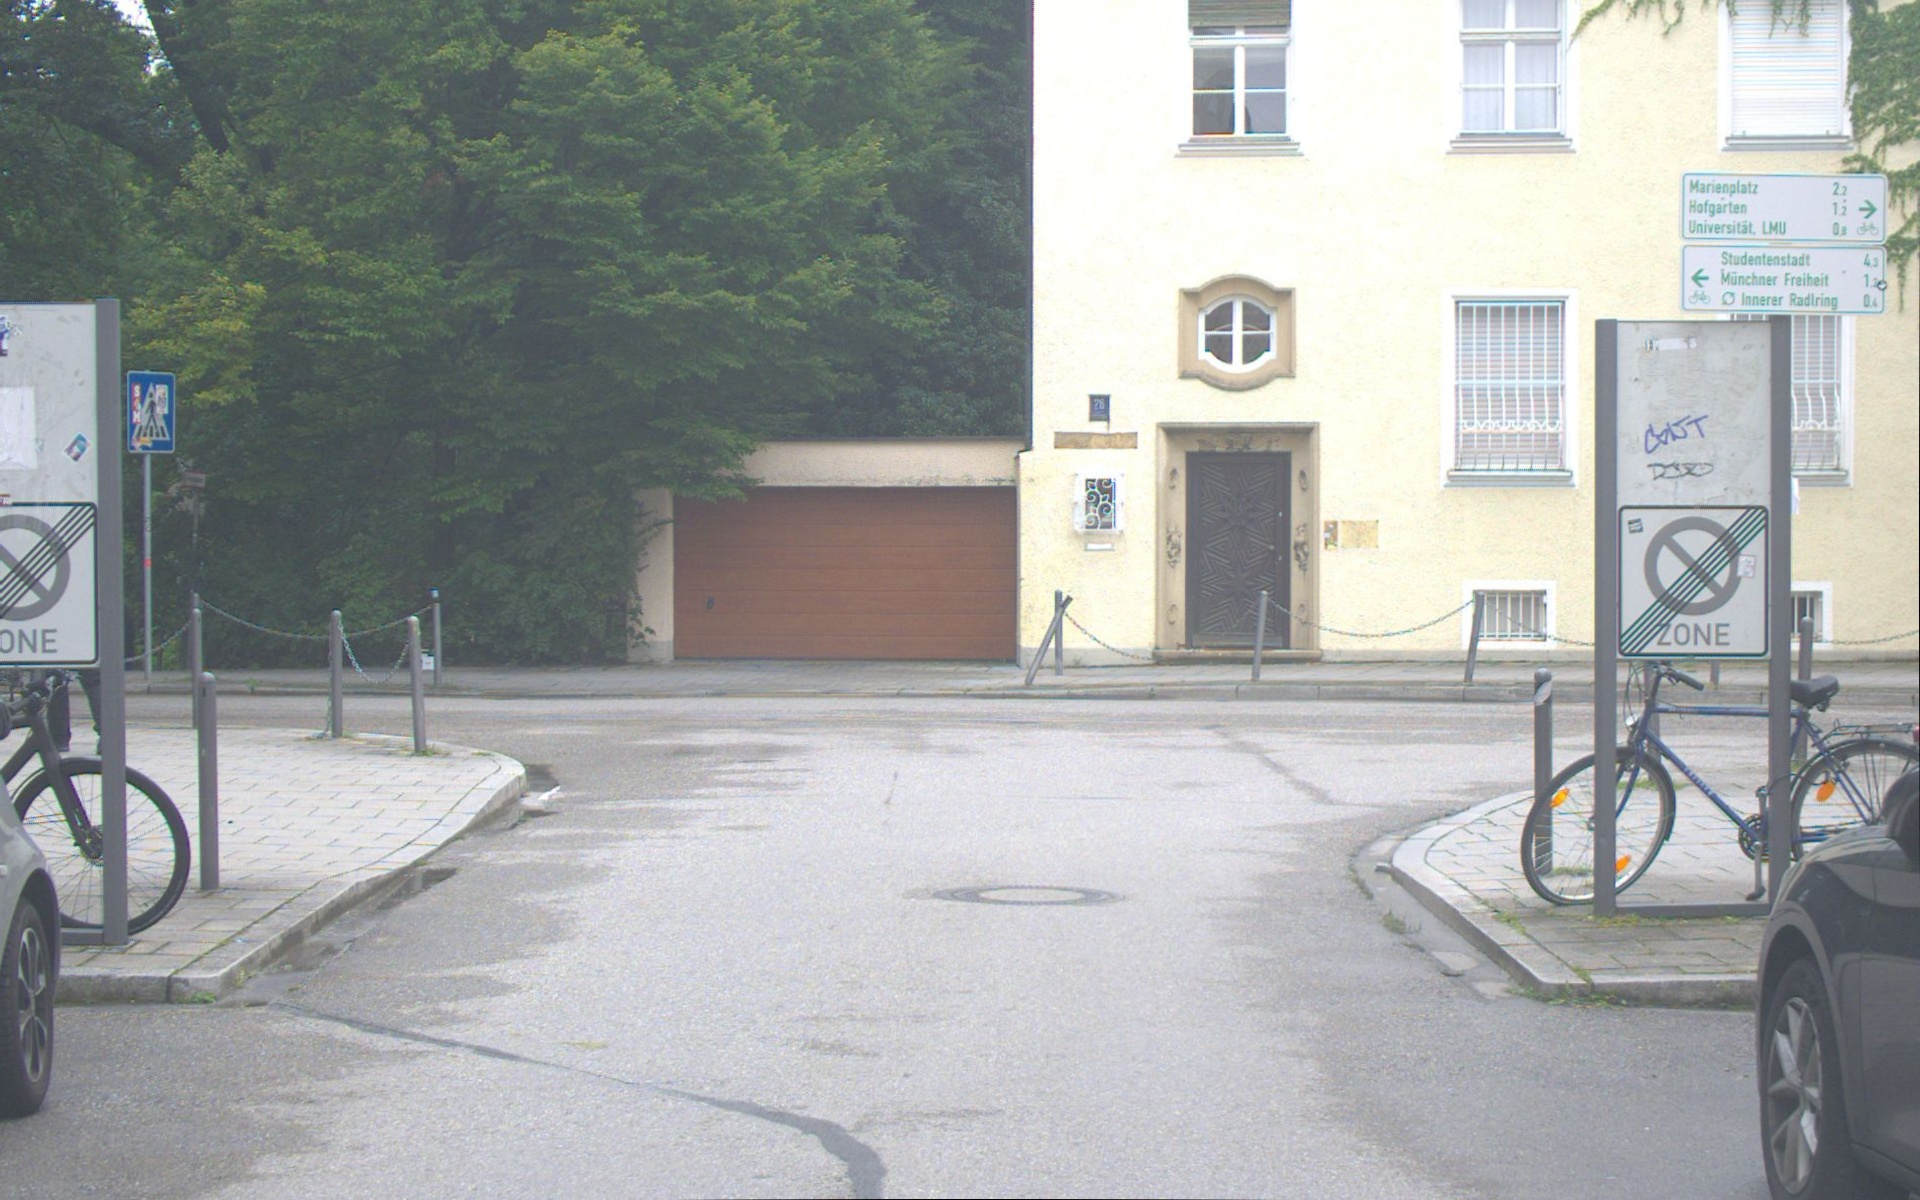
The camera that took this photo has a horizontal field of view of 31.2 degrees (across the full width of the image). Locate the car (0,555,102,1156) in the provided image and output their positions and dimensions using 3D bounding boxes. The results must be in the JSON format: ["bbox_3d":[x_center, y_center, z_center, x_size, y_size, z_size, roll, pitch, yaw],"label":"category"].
[{"bbox_3d":[-3.274,0.654,8.219,1.704,1.510,2.911,0,1,0],"label":"car"}]

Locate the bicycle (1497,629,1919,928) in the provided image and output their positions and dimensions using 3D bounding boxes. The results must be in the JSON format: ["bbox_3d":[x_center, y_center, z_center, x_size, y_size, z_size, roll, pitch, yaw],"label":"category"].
[{"bbox_3d":[3.081,0.673,13.484,1.794,1.082,0.665,0,2,27],"label":"bicycle"}]

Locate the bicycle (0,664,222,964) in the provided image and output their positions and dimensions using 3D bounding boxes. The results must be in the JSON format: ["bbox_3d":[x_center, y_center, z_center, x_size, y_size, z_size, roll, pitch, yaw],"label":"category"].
[{"bbox_3d":[-3.606,0.740,12.291,1.802,1.011,0.540,2,1,-1],"label":"bicycle"}]

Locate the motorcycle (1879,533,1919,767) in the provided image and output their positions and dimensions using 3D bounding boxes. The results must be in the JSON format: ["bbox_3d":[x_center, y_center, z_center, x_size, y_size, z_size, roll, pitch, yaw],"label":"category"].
[{"bbox_3d":[6.518,0.296,20.201,2.077,1.351,0.817,0,1,-23],"label":"motorcycle"}]

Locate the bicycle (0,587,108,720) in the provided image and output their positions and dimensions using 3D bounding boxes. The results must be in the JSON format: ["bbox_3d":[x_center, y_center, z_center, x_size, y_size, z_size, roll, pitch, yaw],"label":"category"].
[{"bbox_3d":[-7.707,0.409,27.594,2.006,1.006,0.511,1,1,36],"label":"bicycle"}]

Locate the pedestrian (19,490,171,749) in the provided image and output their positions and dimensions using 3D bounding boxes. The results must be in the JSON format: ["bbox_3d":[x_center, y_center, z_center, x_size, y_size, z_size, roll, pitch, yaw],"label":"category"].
[{"bbox_3d":[-5.607,0.118,22.264,0.810,1.636,0.726,0,1,-26],"label":"pedestrian"}]

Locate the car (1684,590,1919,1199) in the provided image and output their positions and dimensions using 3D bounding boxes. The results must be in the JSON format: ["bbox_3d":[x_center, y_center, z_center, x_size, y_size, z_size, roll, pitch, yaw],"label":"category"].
[{"bbox_3d":[2.732,0.759,6.152,1.692,1.466,4.611,1,1,-3],"label":"car"}]

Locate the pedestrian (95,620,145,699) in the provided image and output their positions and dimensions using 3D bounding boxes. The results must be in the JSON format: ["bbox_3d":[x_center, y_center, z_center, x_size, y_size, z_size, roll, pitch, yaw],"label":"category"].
[{"bbox_3d":[-12.646,0.889,51.755,0.585,1.164,0.497,1,1,5],"label":"pedestrian"}]
